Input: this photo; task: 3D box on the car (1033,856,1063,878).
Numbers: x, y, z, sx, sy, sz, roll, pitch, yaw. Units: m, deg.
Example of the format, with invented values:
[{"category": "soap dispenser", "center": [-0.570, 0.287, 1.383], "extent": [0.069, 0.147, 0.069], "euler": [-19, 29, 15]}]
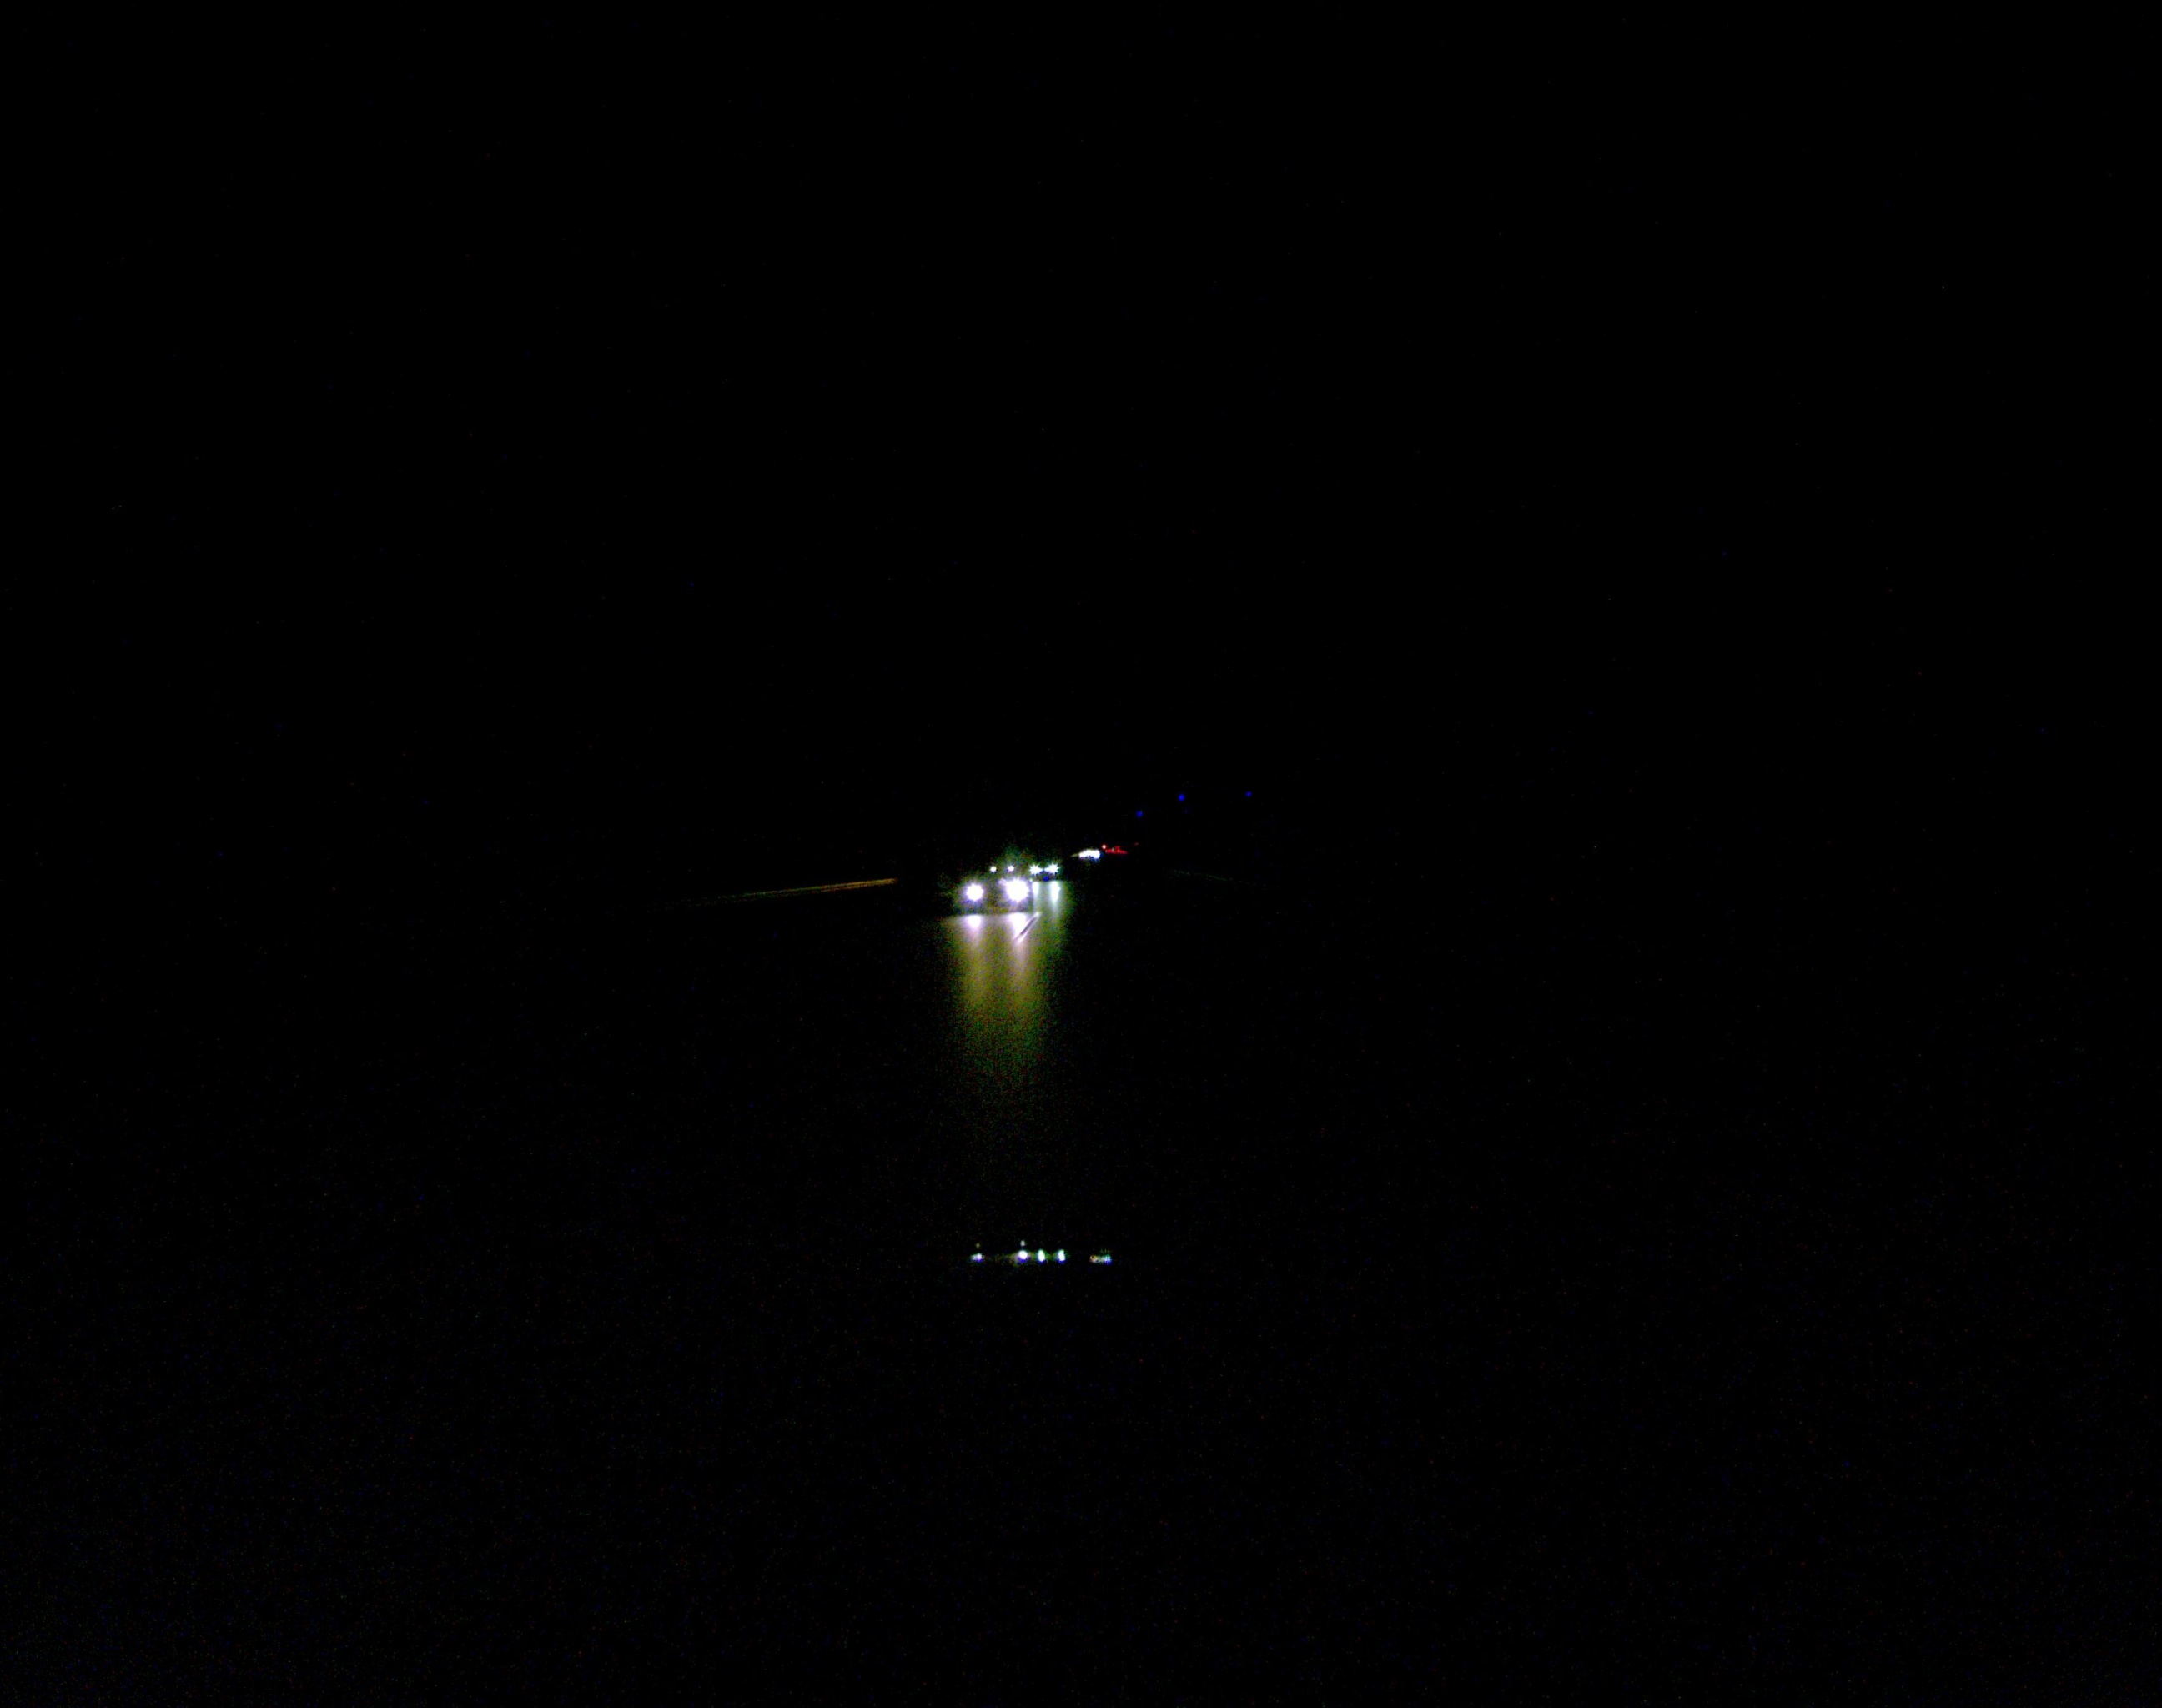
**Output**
[{"category": "car", "center": [-2.384, 0.913, 55.893], "extent": [1.998, 1.455, 4.000], "euler": [-2, 0, 1]}]

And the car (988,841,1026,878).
[{"category": "car", "center": [-6.215, 0.426, 64.681], "extent": [2.534, 2.888, 6.227], "euler": [-2, 0, 1]}]

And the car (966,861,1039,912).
[{"category": "car", "center": [-2.409, 0.980, 24.259], "extent": [1.833, 1.404, 4.000], "euler": [-2, 0, 1]}]
